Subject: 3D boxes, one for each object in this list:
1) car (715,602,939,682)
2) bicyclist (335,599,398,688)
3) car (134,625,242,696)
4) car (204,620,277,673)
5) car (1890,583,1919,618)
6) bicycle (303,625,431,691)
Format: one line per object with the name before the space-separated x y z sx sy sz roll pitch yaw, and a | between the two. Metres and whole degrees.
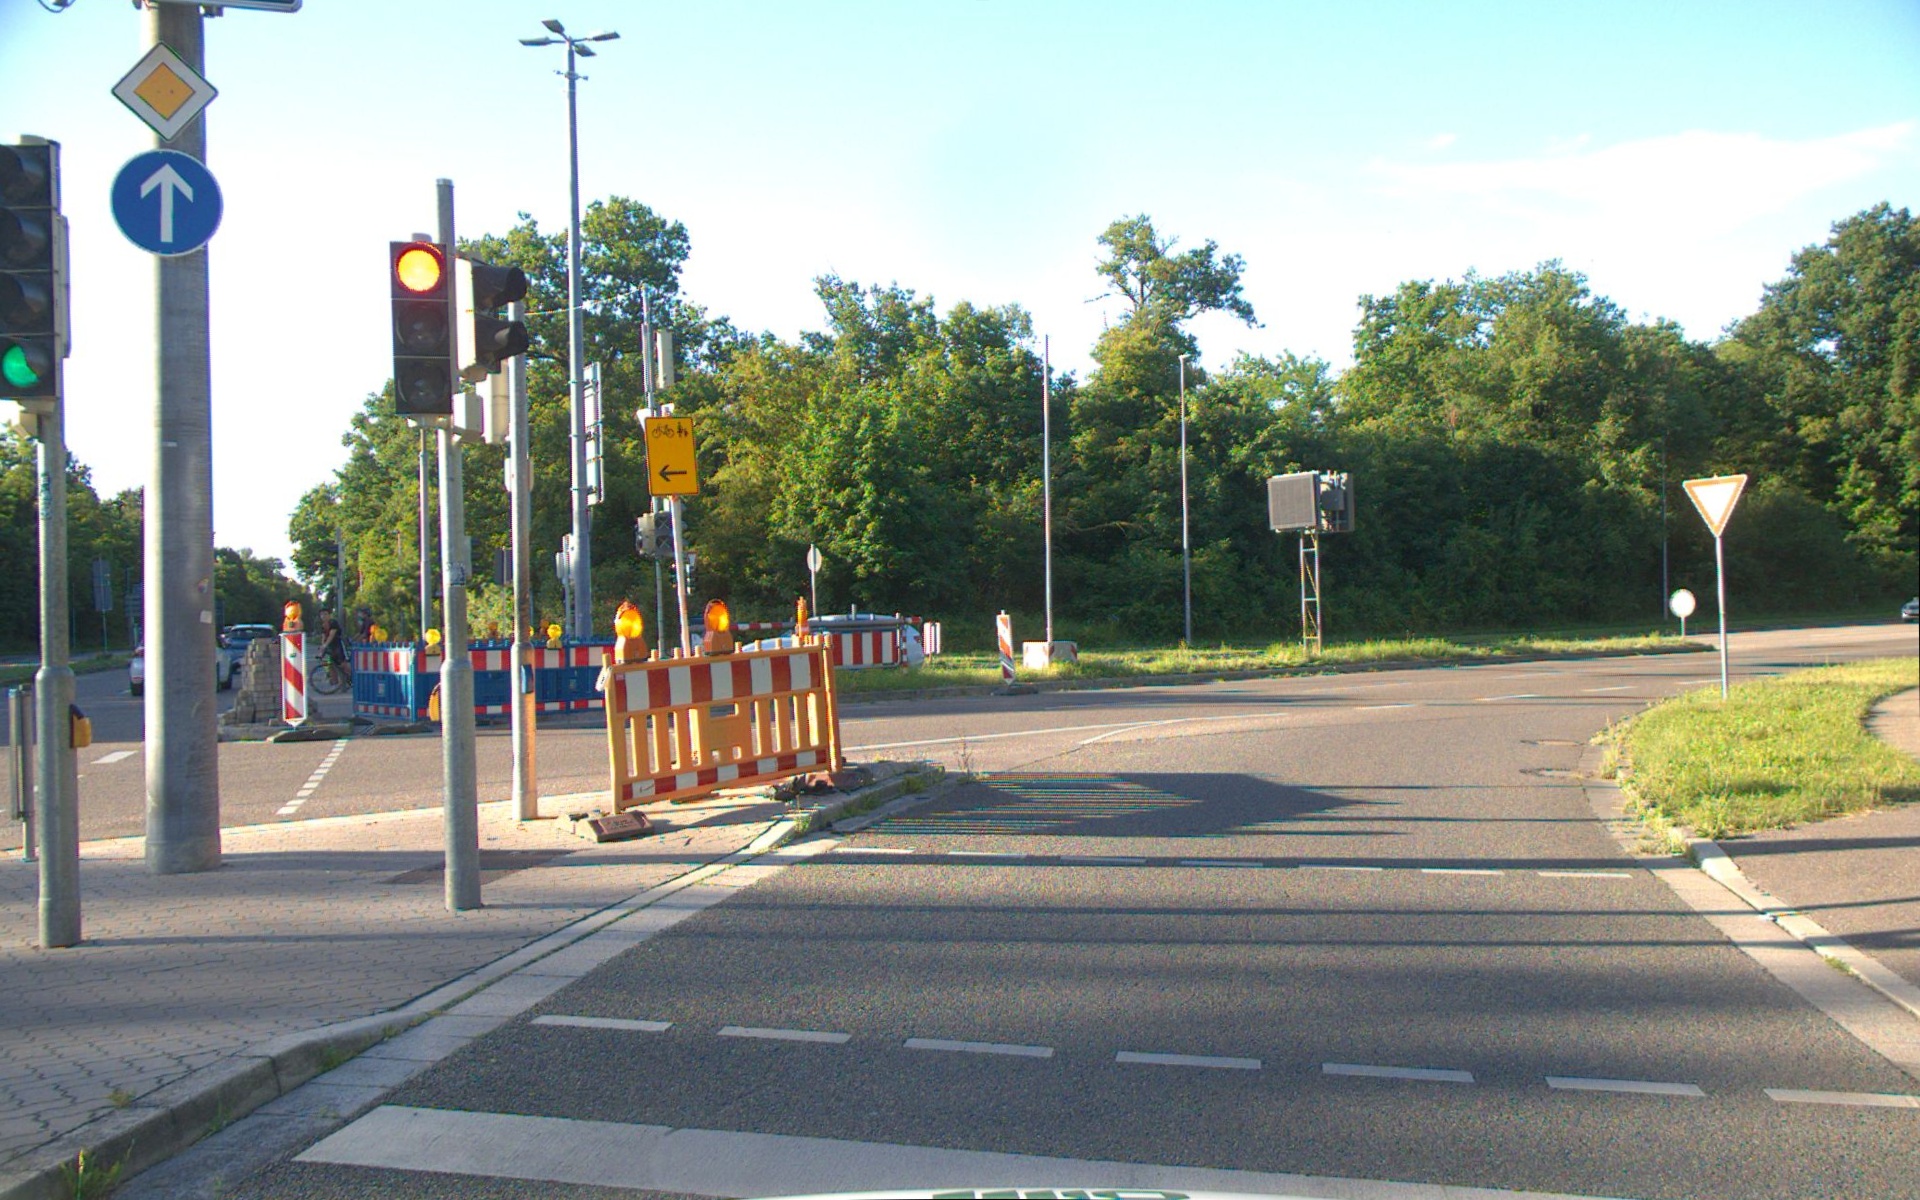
car | -2.945 0.917 37.326 4.787 1.608 1.971 -1 -1 -40
bicyclist | -13.433 0.967 37.424 0.950 1.963 1.011 -1 -1 40
car | -17.317 1.328 37.266 1.913 1.439 3.974 -2 0 -22
car | -22.783 1.448 52.488 1.966 1.563 3.974 -2 0 -22
car | 41.899 -0.030 70.441 4.747 1.461 1.977 -1 -1 -33
bicycle | -13.404 1.284 37.439 0.950 1.407 2.626 -1 -1 40
